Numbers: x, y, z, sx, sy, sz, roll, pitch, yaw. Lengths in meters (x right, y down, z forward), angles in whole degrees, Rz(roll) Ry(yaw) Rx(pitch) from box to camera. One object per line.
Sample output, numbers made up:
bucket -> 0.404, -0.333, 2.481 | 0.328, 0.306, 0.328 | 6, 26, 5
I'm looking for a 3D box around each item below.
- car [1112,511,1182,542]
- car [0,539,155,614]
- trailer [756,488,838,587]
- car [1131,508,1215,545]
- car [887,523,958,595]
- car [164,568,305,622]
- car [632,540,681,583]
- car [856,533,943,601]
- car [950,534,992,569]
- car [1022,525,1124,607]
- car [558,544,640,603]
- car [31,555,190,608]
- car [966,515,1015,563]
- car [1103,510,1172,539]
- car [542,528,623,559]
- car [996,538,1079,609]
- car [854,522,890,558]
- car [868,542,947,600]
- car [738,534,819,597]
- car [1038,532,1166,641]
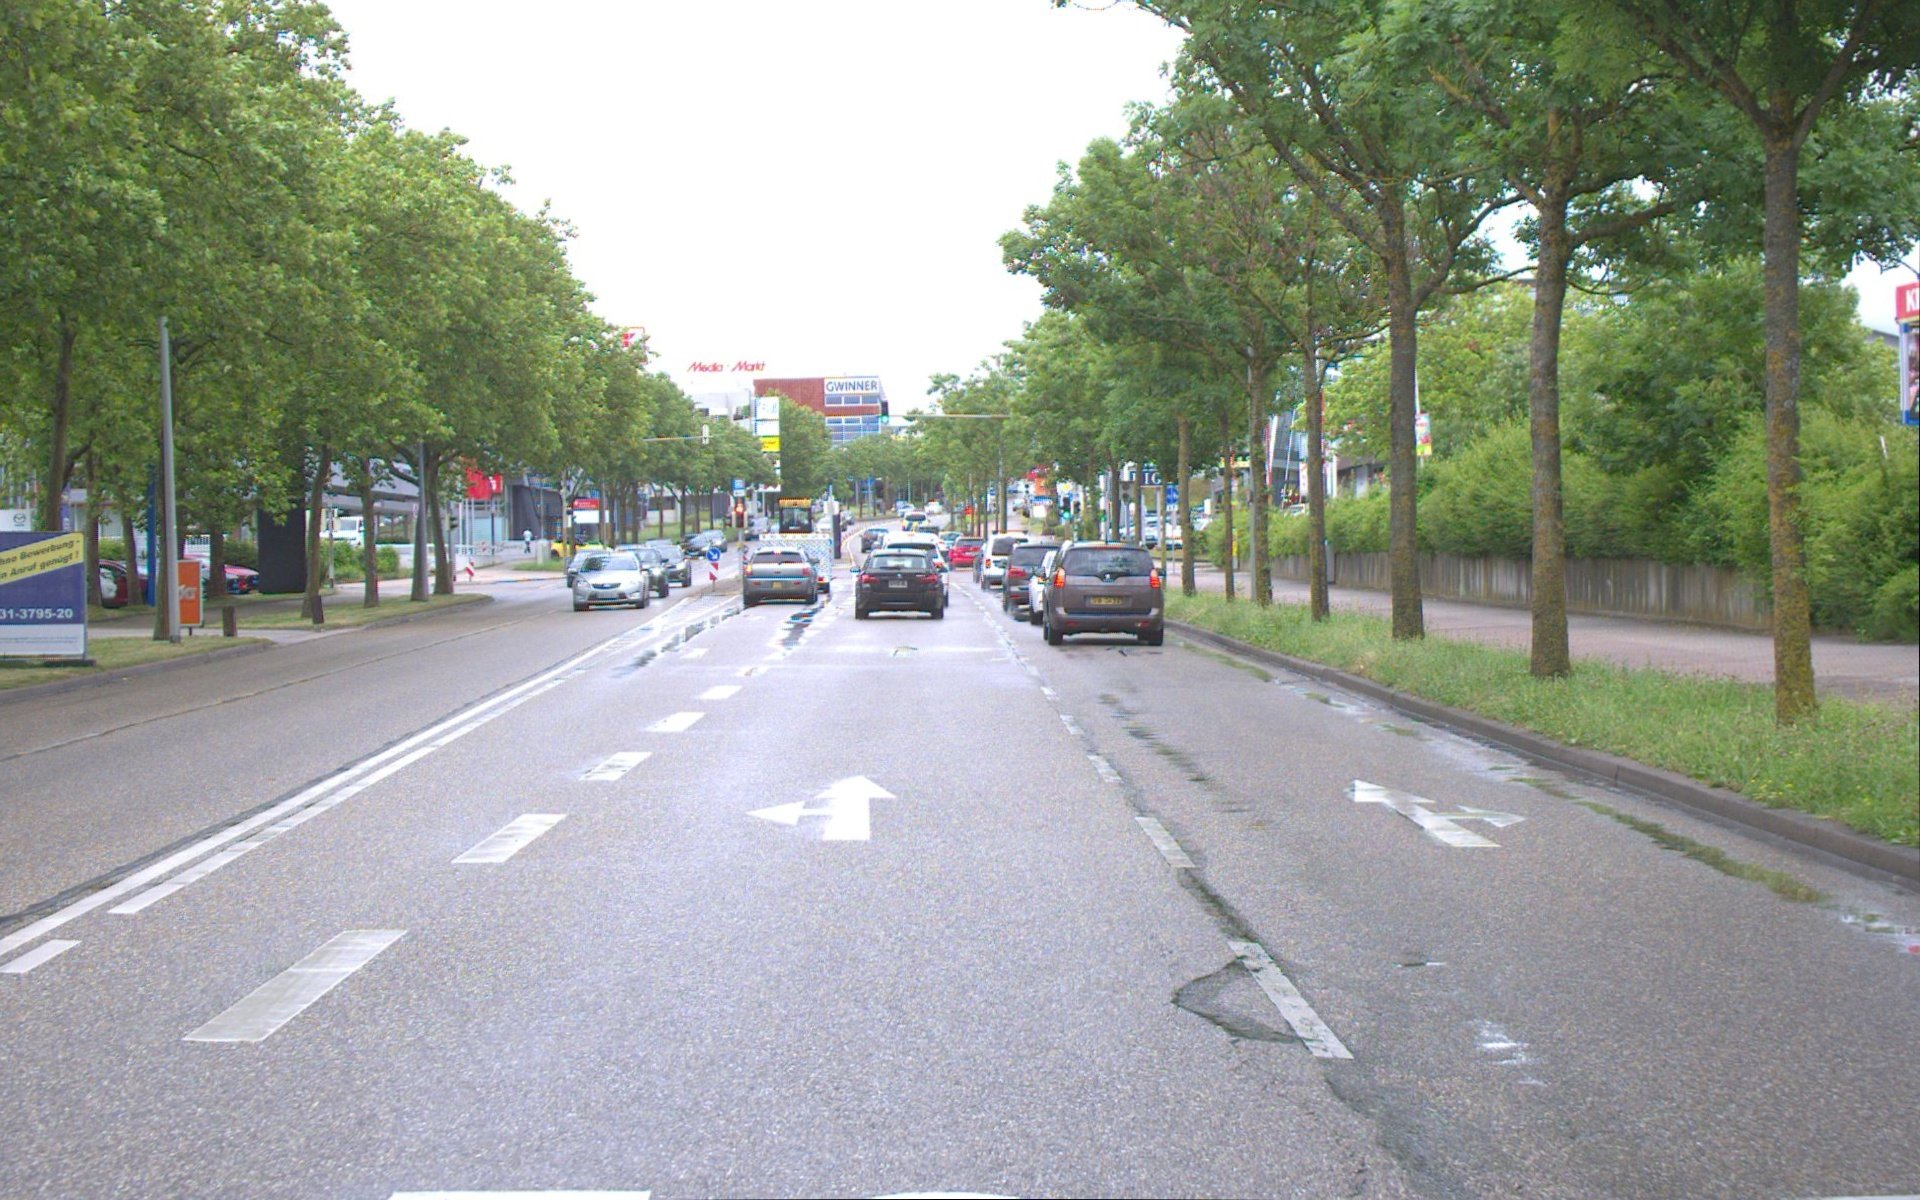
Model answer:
car -> 10.020, -3.932, 183.882 | 3.589, 1.530, 1.643 | -2, 2, -40
car -> -23.155, -0.615, 88.397 | 4.452, 1.809, 2.000 | -2, 1, -23
trailer -> -5.008, -1.926, 105.710 | 2.372, 2.887, 5.546 | -2, 1, -2
car -> 11.032, -3.820, 178.148 | 4.016, 1.657, 1.982 | -5, 3, -40
car -> -1.116, -1.181, 99.464 | 1.993, 2.007, 4.000 | 1, 0, -1
car -> -24.254, -0.182, 114.880 | 4.217, 1.590, 2.000 | -3, 2, -24
car -> -10.896, -1.381, 123.188 | 1.666, 1.457, 4.182 | -2, 1, -6
car -> -1.304, -0.715, 72.875 | 1.781, 1.393, 4.000 | 0, 1, -2
car -> 0.447, -2.090, 146.461 | 1.695, 1.438, 3.989 | -1, 1, -1
car -> 2.202, -0.692, 67.959 | 1.801, 1.539, 4.620 | 1, 1, -1
car -> -9.356, -0.699, 89.285 | 1.993, 1.424, 4.686 | -2, 1, -5
car -> -26.405, -0.584, 106.854 | 4.553, 1.590, 2.000 | 0, 1, -23
car -> 1.090, -2.172, 122.950 | 1.685, 1.678, 3.403 | 1, 0, 0
car -> 9.886, -4.206, 191.316 | 3.589, 1.530, 1.796 | -3, 2, -40
car -> -20.292, -3.031, 184.581 | 3.994, 1.546, 1.896 | -1, 2, 33
car -> 1.802, -0.660, 81.481 | 1.801, 1.581, 4.451 | 1, 1, -1
car -> -5.090, -3.479, 199.349 | 1.993, 2.007, 4.000 | 1, 0, 0
car -> -1.324, -0.740, 85.767 | 1.682, 1.372, 4.001 | -1, 1, -5
car -> -4.764, -0.929, 90.656 | 1.907, 1.573, 4.881 | -2, 1, -1
car -> 2.196, -0.248, 54.192 | 1.726, 1.619, 4.471 | -1, 1, -1
